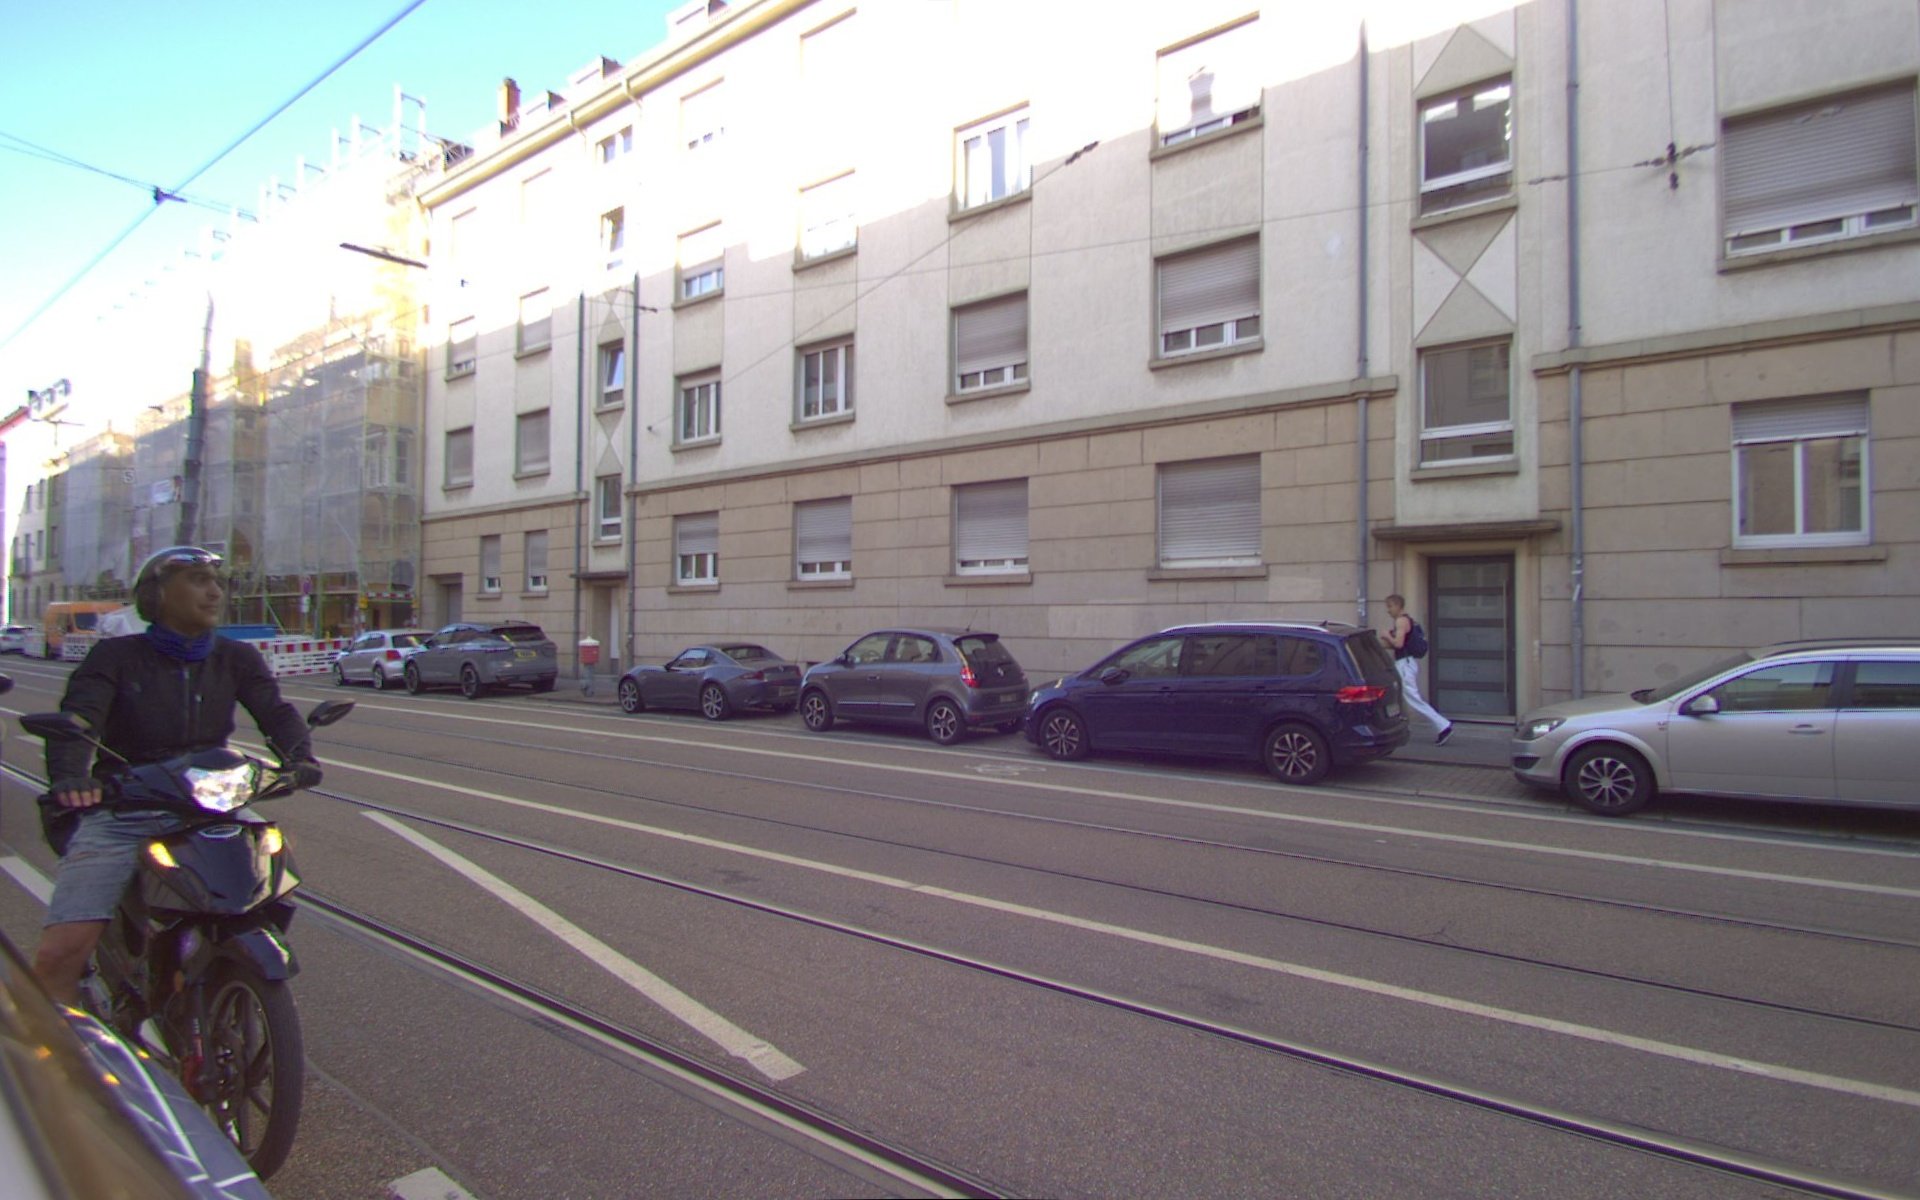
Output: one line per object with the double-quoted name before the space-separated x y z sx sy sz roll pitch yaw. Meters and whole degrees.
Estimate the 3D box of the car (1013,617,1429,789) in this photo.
"car" 2.916 1.019 11.724 4.285 1.597 1.887 -1 0 37

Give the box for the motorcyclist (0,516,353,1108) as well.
"motorcyclist" -2.437 0.541 3.089 0.598 1.516 0.851 -1 0 41

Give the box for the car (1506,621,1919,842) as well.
"car" 7.222 0.991 8.535 4.358 1.571 1.975 -1 0 38

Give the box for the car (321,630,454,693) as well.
"car" -14.456 1.492 25.490 3.639 1.402 1.617 -1 0 37

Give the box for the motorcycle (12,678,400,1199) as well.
"motorcycle" -2.358 0.910 3.048 1.980 1.228 0.532 -1 0 41

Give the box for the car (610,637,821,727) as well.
"car" -4.273 1.342 17.534 3.483 1.286 1.730 -1 0 37

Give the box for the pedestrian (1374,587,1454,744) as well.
"pedestrian" 5.555 0.774 12.377 0.733 1.846 0.592 -1 0 41

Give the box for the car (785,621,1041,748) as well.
"car" -0.743 1.116 14.704 3.493 1.584 1.650 -1 0 38

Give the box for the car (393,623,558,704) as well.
"car" -10.885 1.348 22.625 4.108 1.603 1.691 -1 0 38

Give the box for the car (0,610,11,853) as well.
"car" -8.028 0.837 6.996 3.997 1.515 1.670 -2 -3 40
